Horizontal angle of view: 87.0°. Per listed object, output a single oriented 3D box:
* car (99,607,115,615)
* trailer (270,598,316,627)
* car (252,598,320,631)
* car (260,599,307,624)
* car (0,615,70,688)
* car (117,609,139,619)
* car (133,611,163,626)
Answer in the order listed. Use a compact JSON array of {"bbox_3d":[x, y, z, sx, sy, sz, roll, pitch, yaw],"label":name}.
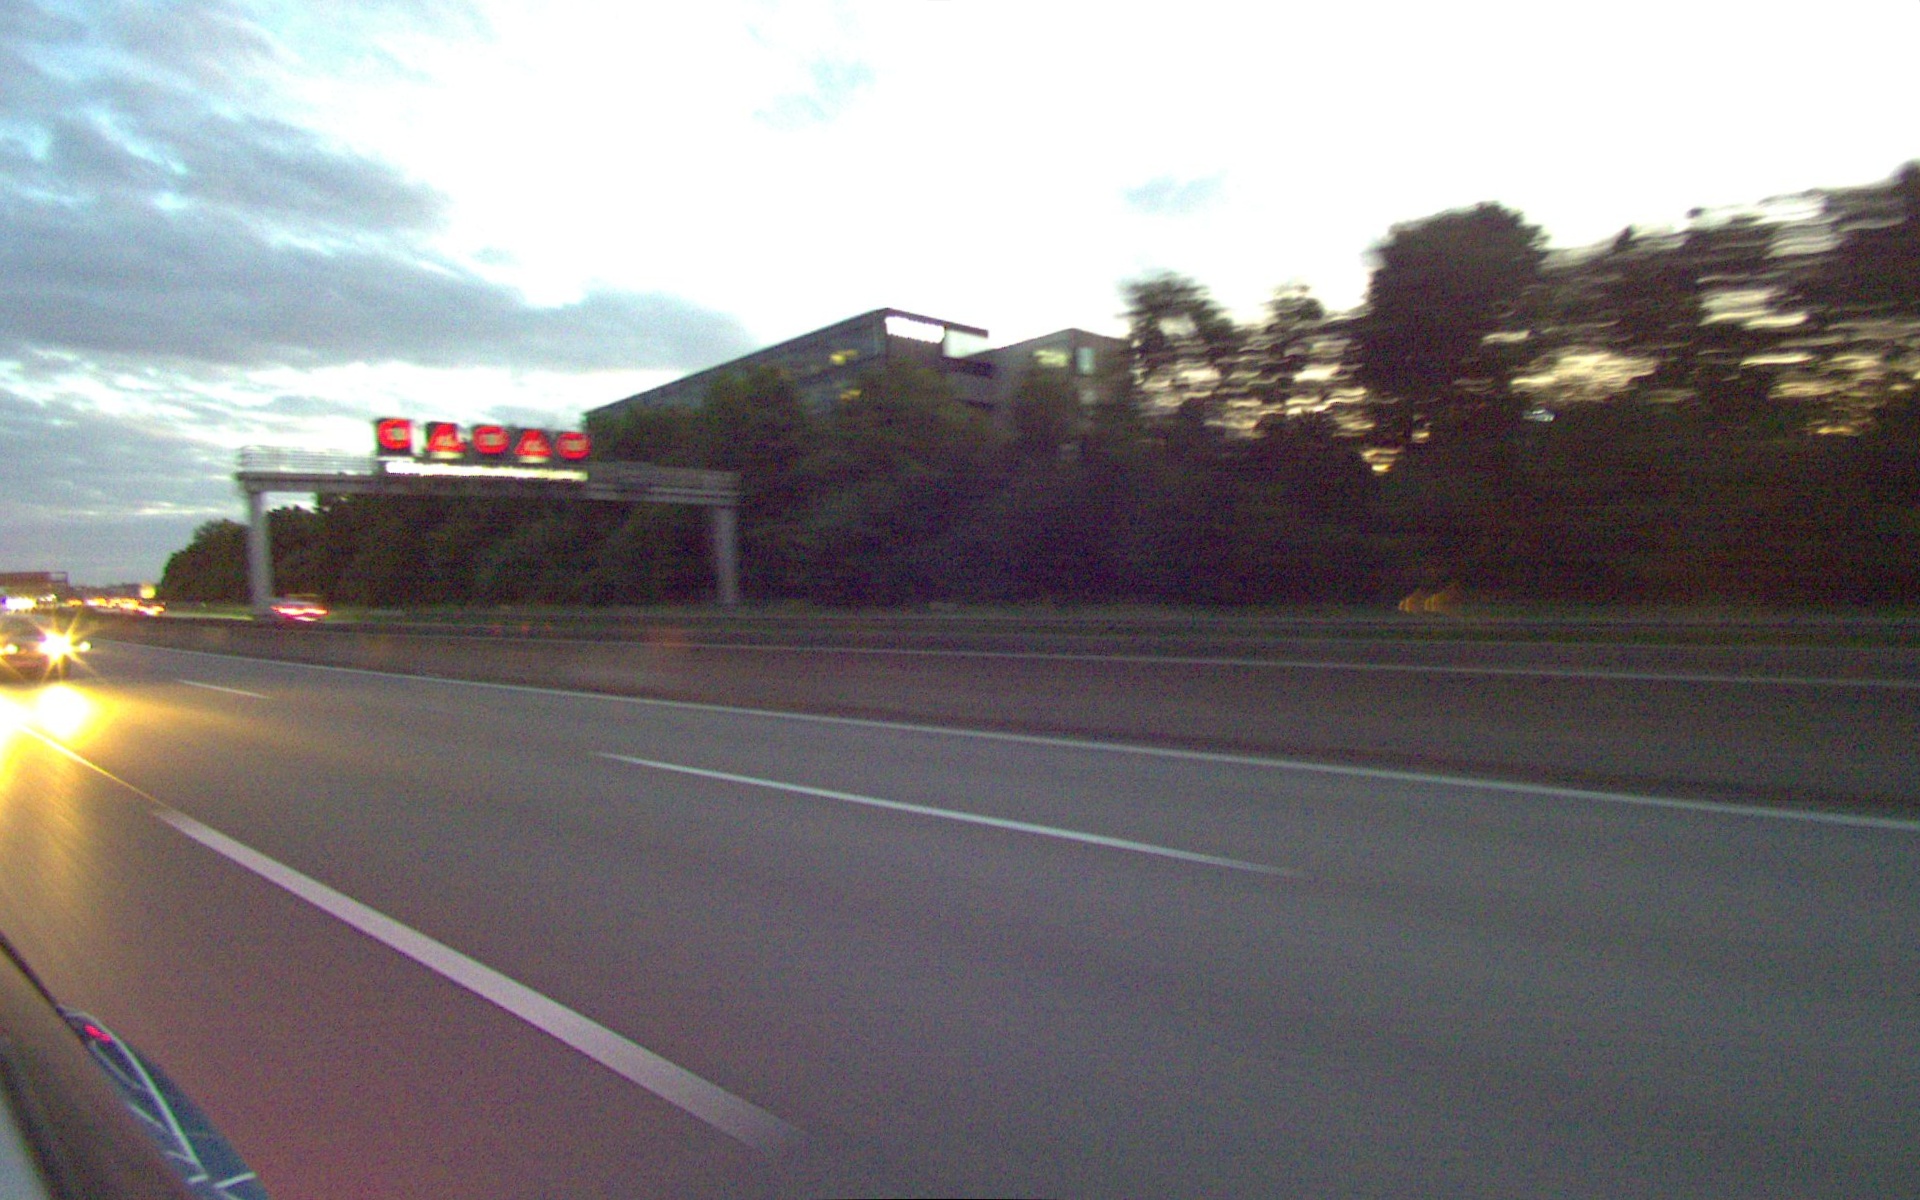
[{"bbox_3d":[-166.725,2.104,197.844,4.508,1.516,1.971,0,1,45],"label":"car"},{"bbox_3d":[-50.872,0.950,77.154,4.240,2.017,1.892,-1,1,43],"label":"trailer"},{"bbox_3d":[-41.027,0.830,61.566,6.012,1.881,1.893,0,1,41],"label":"car"},{"bbox_3d":[-54.365,0.915,81.292,5.524,1.881,1.892,0,1,43],"label":"car"},{"bbox_3d":[-21.838,1.137,23.229,4.000,1.491,1.694,0,1,43],"label":"car"},{"bbox_3d":[-127.330,2.134,154.849,5.008,1.545,1.971,0,1,44],"label":"car"},{"bbox_3d":[-80.805,1.822,100.687,4.897,1.364,1.671,0,1,43],"label":"car"}]
